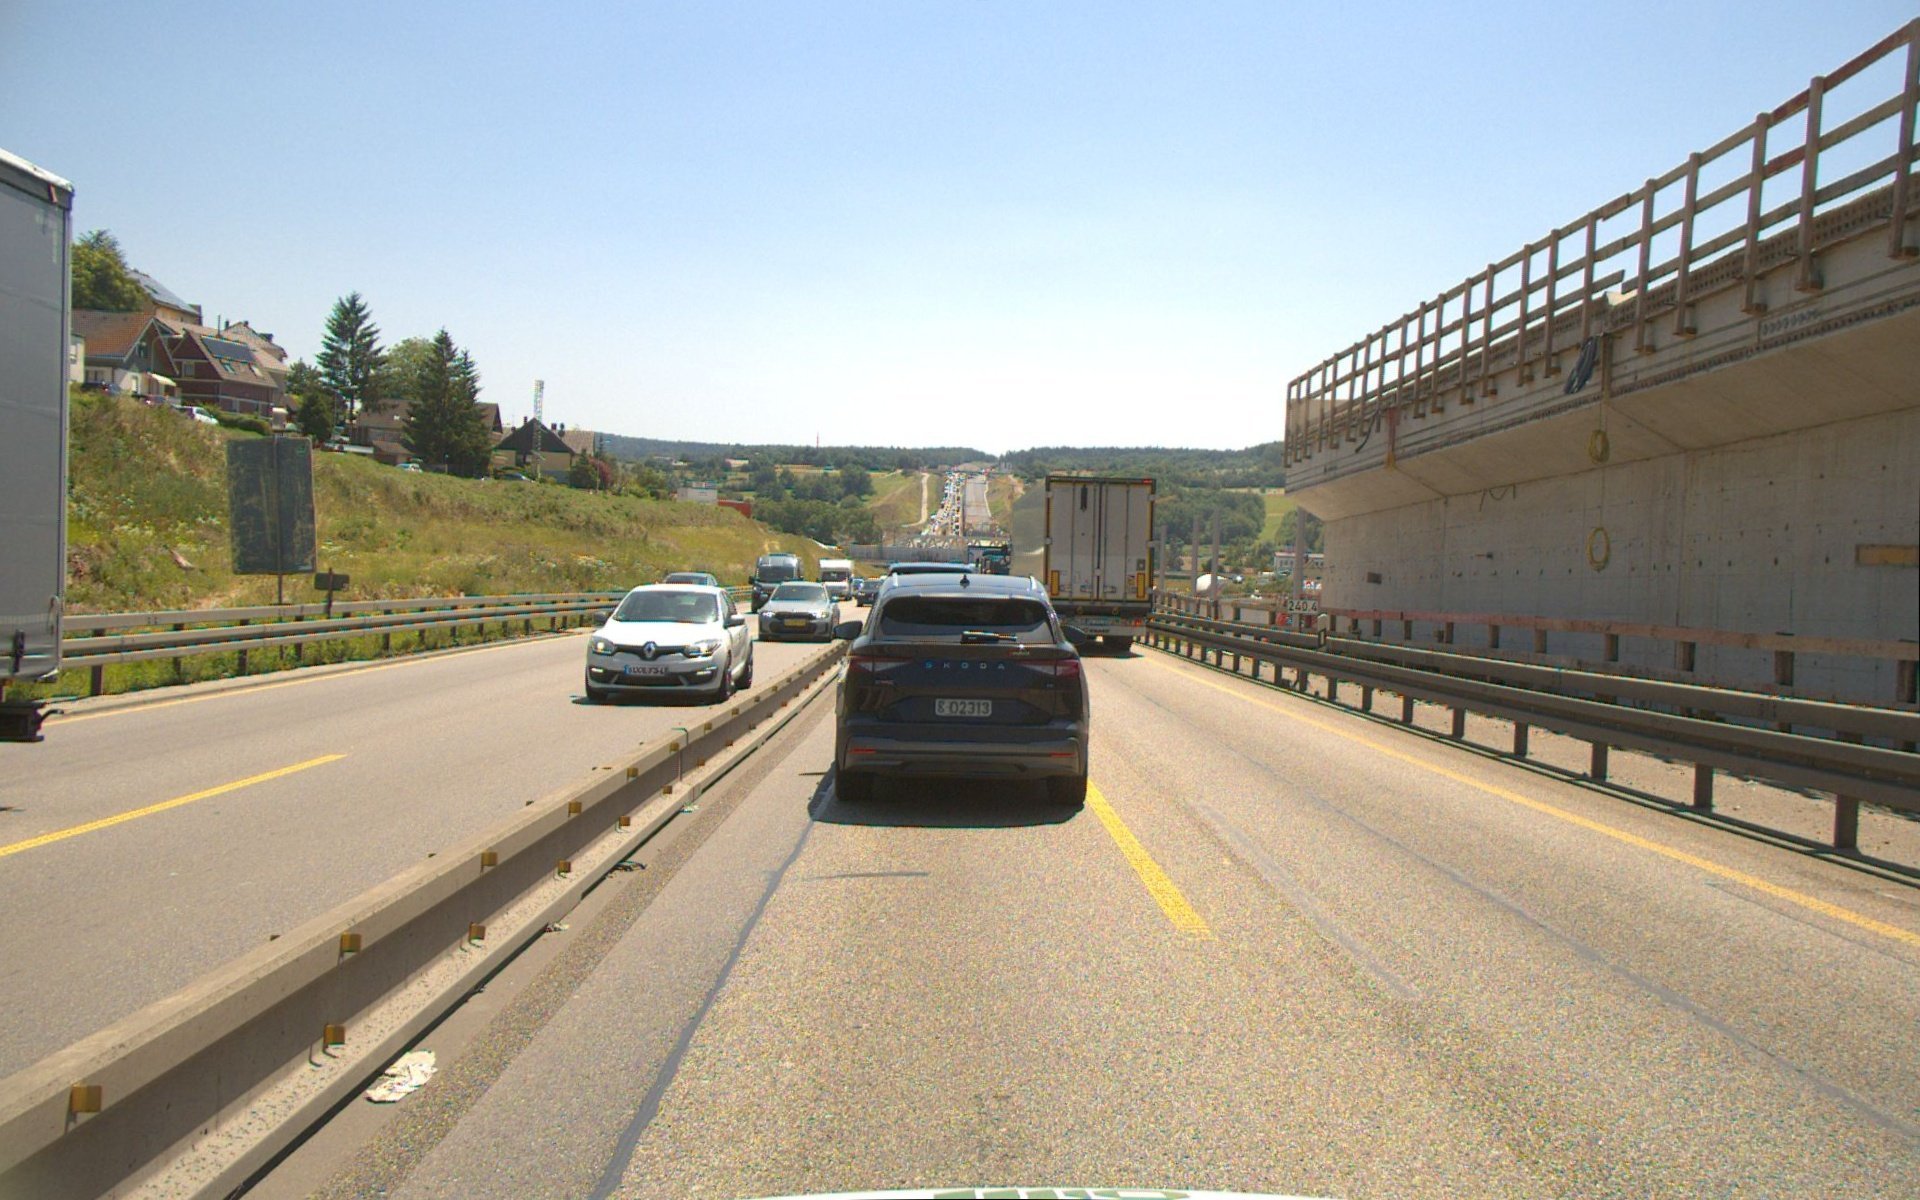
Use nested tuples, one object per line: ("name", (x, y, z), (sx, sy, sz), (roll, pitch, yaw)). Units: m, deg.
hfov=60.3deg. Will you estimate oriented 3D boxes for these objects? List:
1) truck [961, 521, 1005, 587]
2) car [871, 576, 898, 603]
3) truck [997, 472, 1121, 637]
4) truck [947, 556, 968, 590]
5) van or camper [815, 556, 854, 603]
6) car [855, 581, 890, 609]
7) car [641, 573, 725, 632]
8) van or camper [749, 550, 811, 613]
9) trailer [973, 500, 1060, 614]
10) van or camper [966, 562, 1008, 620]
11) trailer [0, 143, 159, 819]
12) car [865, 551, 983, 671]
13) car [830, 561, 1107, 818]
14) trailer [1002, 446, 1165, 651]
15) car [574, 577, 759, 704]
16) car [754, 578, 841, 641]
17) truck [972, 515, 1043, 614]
("truck", (1.632, -3.349, 124.808), (2.794, 4.543, 11.913), (1, -1, -1))
("car", (-5.430, -0.748, 119.935), (1.800, 1.859, 5.039), (1, 1, -2))
("truck", (2.885, -1.368, 50.827), (3.116, 4.591, 8.165), (1, 1, -1))
("truck", (-0.376, -3.559, 218.827), (2.586, 4.267, 9.282), (1, -1, -1))
("van or camper", (-8.825, -1.451, 116.510), (2.244, 3.120, 6.923), (1, 1, -1))
("car", (-4.995, -0.316, 95.149), (1.805, 1.501, 4.834), (1, 1, -1))
("car", (-8.100, 0.053, 48.662), (1.737, 1.609, 4.285), (2, 0, -1))
("van or camper", (-8.012, -0.823, 74.133), (2.096, 2.618, 6.563), (2, 0, -1))
("trailer", (2.377, -1.699, 75.143), (3.116, 4.592, 14.963), (1, -1, -1))
("van or camper", (1.620, -0.479, 98.615), (2.339, 3.338, 6.469), (1, -1, 1))
("trailer", (-7.159, -0.726, 7.504), (2.870, 4.058, 8.704), (1, 0, -1))
("car", (-0.643, 0.206, 30.008), (1.953, 1.959, 4.506), (1, -1, -1))
("car", (0.050, 0.579, 12.749), (1.765, 1.635, 4.000), (1, 0, 0))
("trailer", (2.993, -1.287, 44.299), (3.116, 4.591, 13.107), (1, 1, -1))
("car", (-3.771, 0.479, 21.908), (1.766, 1.489, 3.999), (1, 0, -1))
("car", (-4.036, 0.207, 41.778), (1.792, 1.458, 4.628), (1, 0, -1))
("truck", (2.268, -1.636, 82.255), (3.116, 4.592, 8.163), (1, -1, -1))
